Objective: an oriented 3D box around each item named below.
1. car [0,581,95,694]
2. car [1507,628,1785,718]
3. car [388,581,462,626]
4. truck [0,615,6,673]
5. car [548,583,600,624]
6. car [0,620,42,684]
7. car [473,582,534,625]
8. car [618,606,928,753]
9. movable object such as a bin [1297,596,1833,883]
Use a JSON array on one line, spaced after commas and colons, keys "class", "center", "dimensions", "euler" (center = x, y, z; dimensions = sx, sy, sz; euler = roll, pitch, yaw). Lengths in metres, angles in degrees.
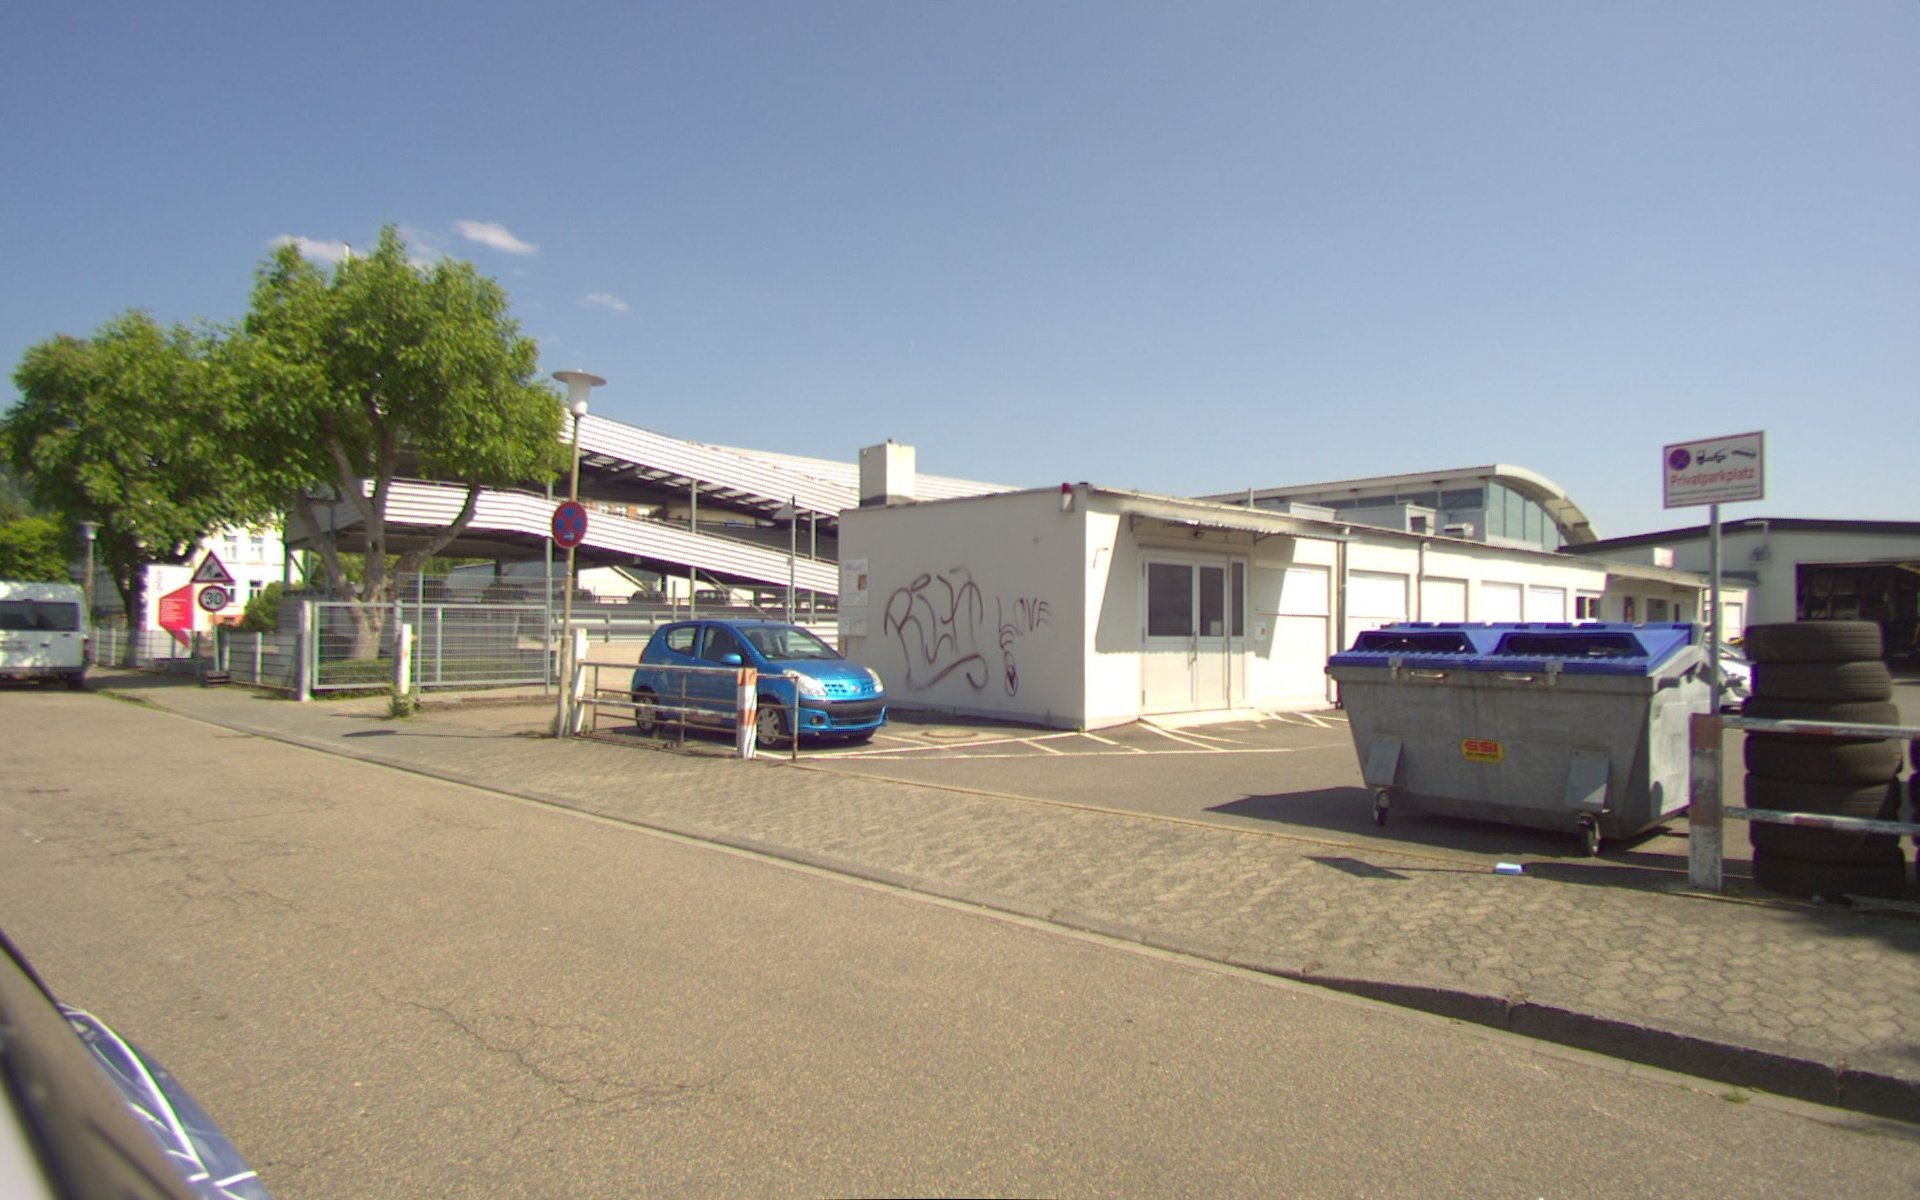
[{"class": "car", "center": [-22.060, 0.857, 23.487], "dimensions": [5.223, 2.384, 1.985], "euler": [-1, -4, 39]}, {"class": "car", "center": [13.446, 1.371, 20.064], "dimensions": [1.791, 1.542, 4.235], "euler": [3, -3, -38]}, {"class": "car", "center": [-21.310, 0.107, 40.448], "dimensions": [1.787, 1.684, 4.012], "euler": [1, 1, -16]}, {"class": "truck", "center": [-28.764, 1.234, 29.308], "dimensions": [3.137, 1.634, 1.127], "euler": [-1, -4, 38]}, {"class": "car", "center": [-16.960, 0.141, 44.654], "dimensions": [1.787, 1.684, 4.012], "euler": [1, 1, -16]}, {"class": "car", "center": [-26.084, 1.337, 26.888], "dimensions": [3.965, 1.636, 1.689], "euler": [0, -3, 36]}, {"class": "car", "center": [-19.095, 0.121, 42.478], "dimensions": [1.787, 1.684, 4.012], "euler": [1, 1, -16]}, {"class": "car", "center": [-2.372, 0.892, 12.485], "dimensions": [3.671, 1.542, 1.796], "euler": [-1, -3, 39]}, {"class": "movable object such as a bin", "center": [4.326, 0.814, 7.283], "dimensions": [2.596, 1.521, 2.730], "euler": [3, -3, -44]}]
